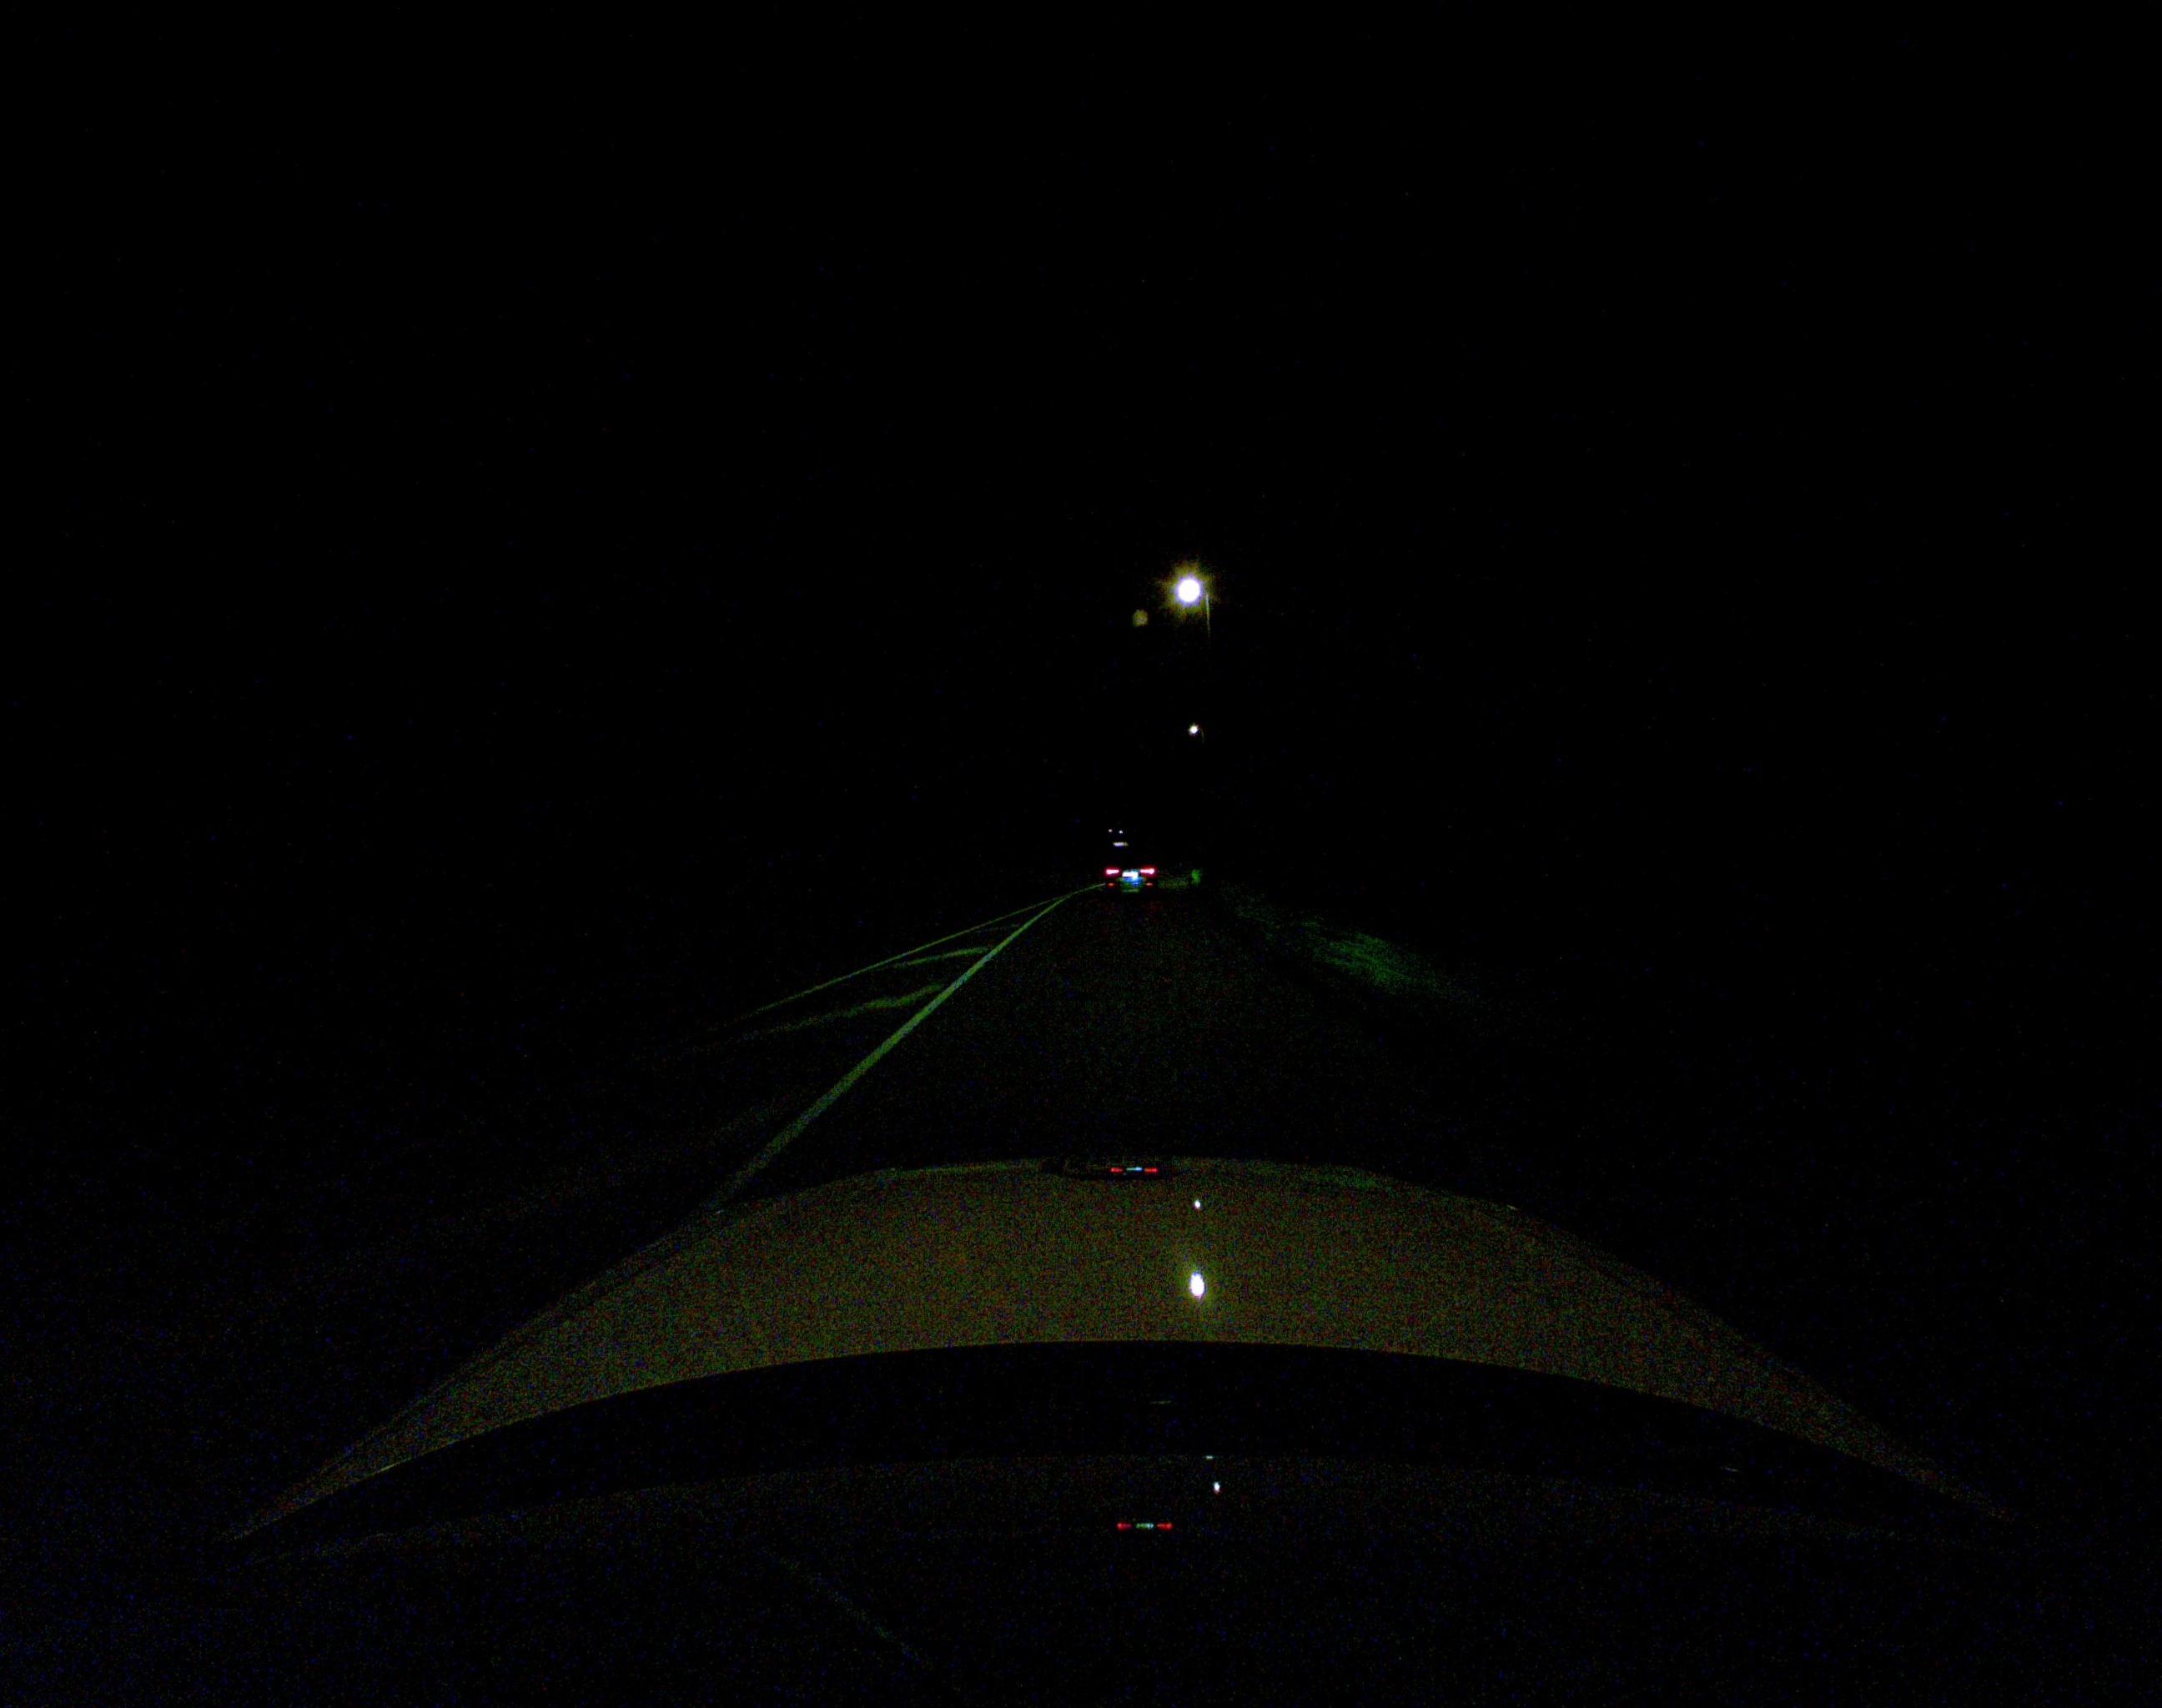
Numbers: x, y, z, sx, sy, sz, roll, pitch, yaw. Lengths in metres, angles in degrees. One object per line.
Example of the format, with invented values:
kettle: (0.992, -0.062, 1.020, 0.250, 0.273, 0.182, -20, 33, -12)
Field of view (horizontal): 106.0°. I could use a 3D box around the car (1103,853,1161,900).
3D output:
car: (1.930, 0.781, 29.684, 1.805, 1.573, 3.951, -1, 0, 7)
